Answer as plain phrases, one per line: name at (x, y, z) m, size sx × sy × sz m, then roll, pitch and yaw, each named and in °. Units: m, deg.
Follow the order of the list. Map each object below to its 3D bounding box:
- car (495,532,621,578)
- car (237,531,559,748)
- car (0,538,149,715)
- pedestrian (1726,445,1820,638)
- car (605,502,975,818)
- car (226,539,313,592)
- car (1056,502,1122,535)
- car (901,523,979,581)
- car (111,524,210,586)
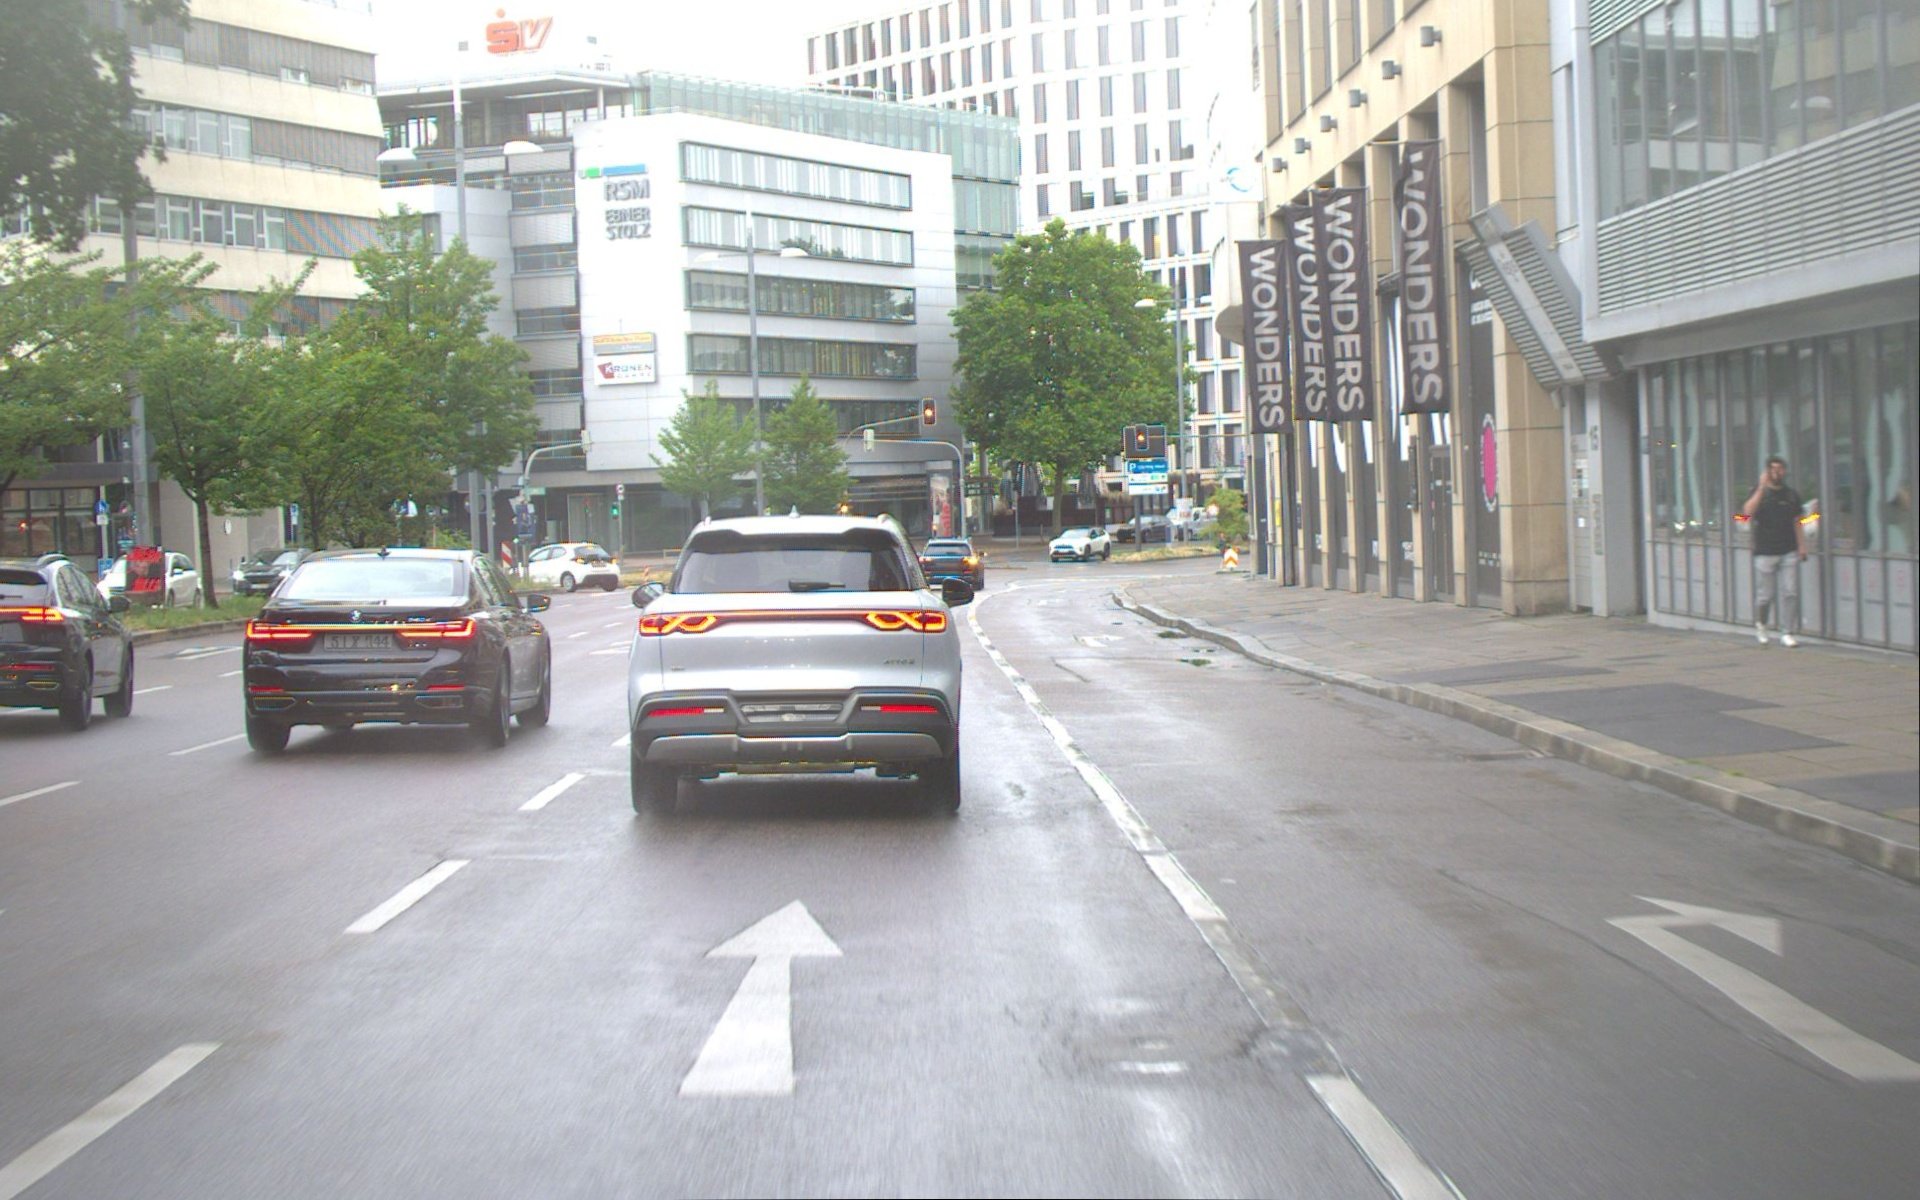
car at (-12.202, -1.369, 104.256) m, size 1.654 × 1.337 × 3.997 m, roll -2°, pitch 2°, yaw -45°
car at (-4.254, 0.229, 26.746) m, size 1.872 × 1.474 × 4.879 m, roll -2°, pitch 1°, yaw -2°
car at (-8.385, 0.225, 30.517) m, size 1.773 × 1.452 × 4.001 m, roll -2°, pitch 1°, yaw -6°
pedestrian at (7.602, -0.542, 32.175) m, size 0.635 × 1.766 × 0.790 m, roll -2°, pitch 0°, yaw -1°
car at (-0.924, 0.275, 19.929) m, size 1.901 × 1.616 × 4.000 m, roll -1°, pitch 1°, yaw -1°
car at (-19.956, -1.006, 99.449) m, size 1.623 × 1.448 × 4.162 m, roll -2°, pitch 1°, yaw 0°
car at (6.341, -3.996, 168.472) m, size 1.583 × 1.533 × 3.994 m, roll 0°, pitch 2°, yaw 30°
car at (-0.549, -1.391, 98.589) m, size 1.812 × 1.573 × 3.999 m, roll -1°, pitch 1°, yaw 5°
car at (-20.073, -1.121, 86.447) m, size 1.623 × 1.487 × 4.307 m, roll -2°, pitch 1°, yaw -3°
